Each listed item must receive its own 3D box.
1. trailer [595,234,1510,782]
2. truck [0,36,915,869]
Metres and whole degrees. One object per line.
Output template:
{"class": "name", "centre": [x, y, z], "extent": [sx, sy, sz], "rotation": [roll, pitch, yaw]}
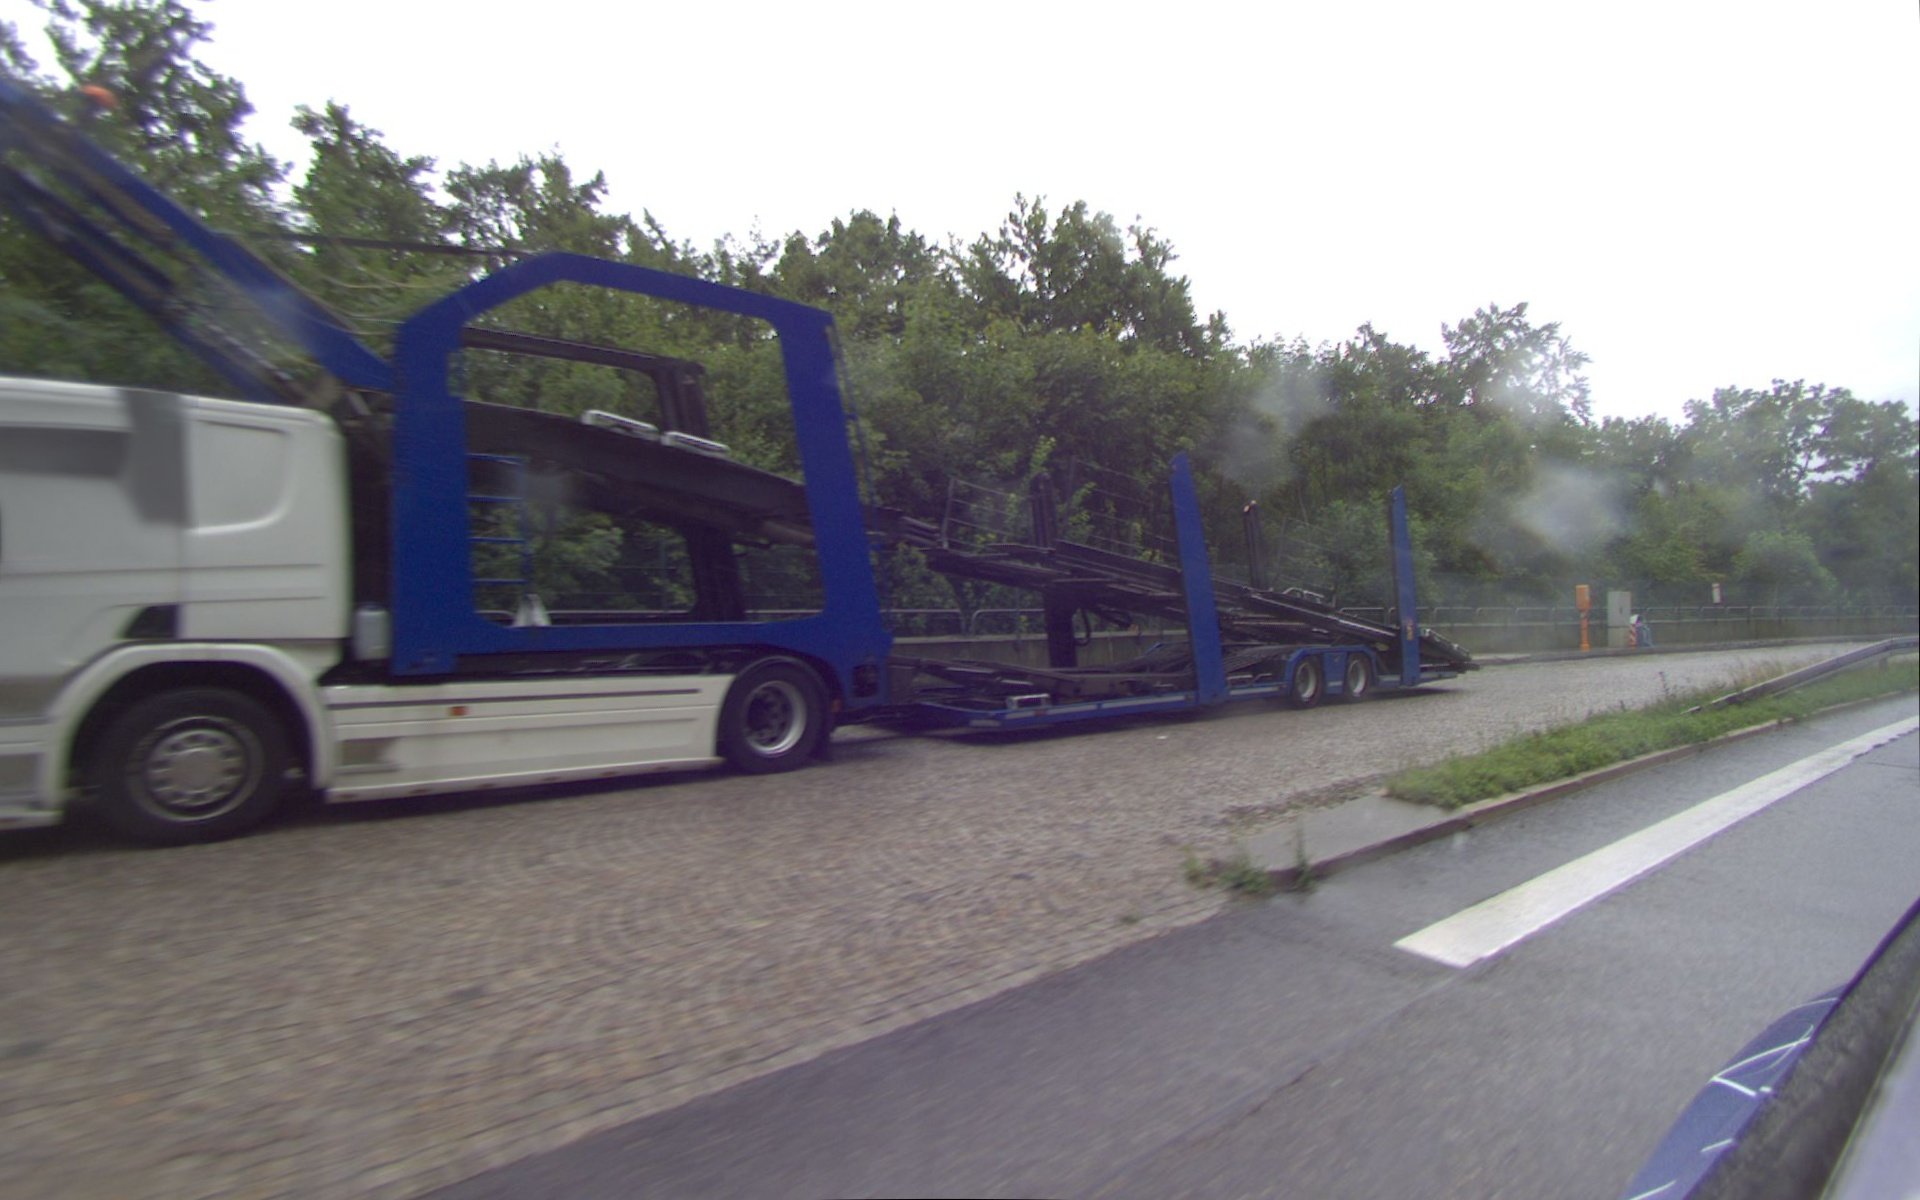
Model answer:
{"class": "trailer", "centre": [2.809, -0.782, 13.664], "extent": [14.434, 4.298, 2.899], "rotation": [0, 1, -40]}
{"class": "truck", "centre": [-3.918, -0.801, 8.051], "extent": [6.760, 4.298, 2.902], "rotation": [0, 1, -41]}
